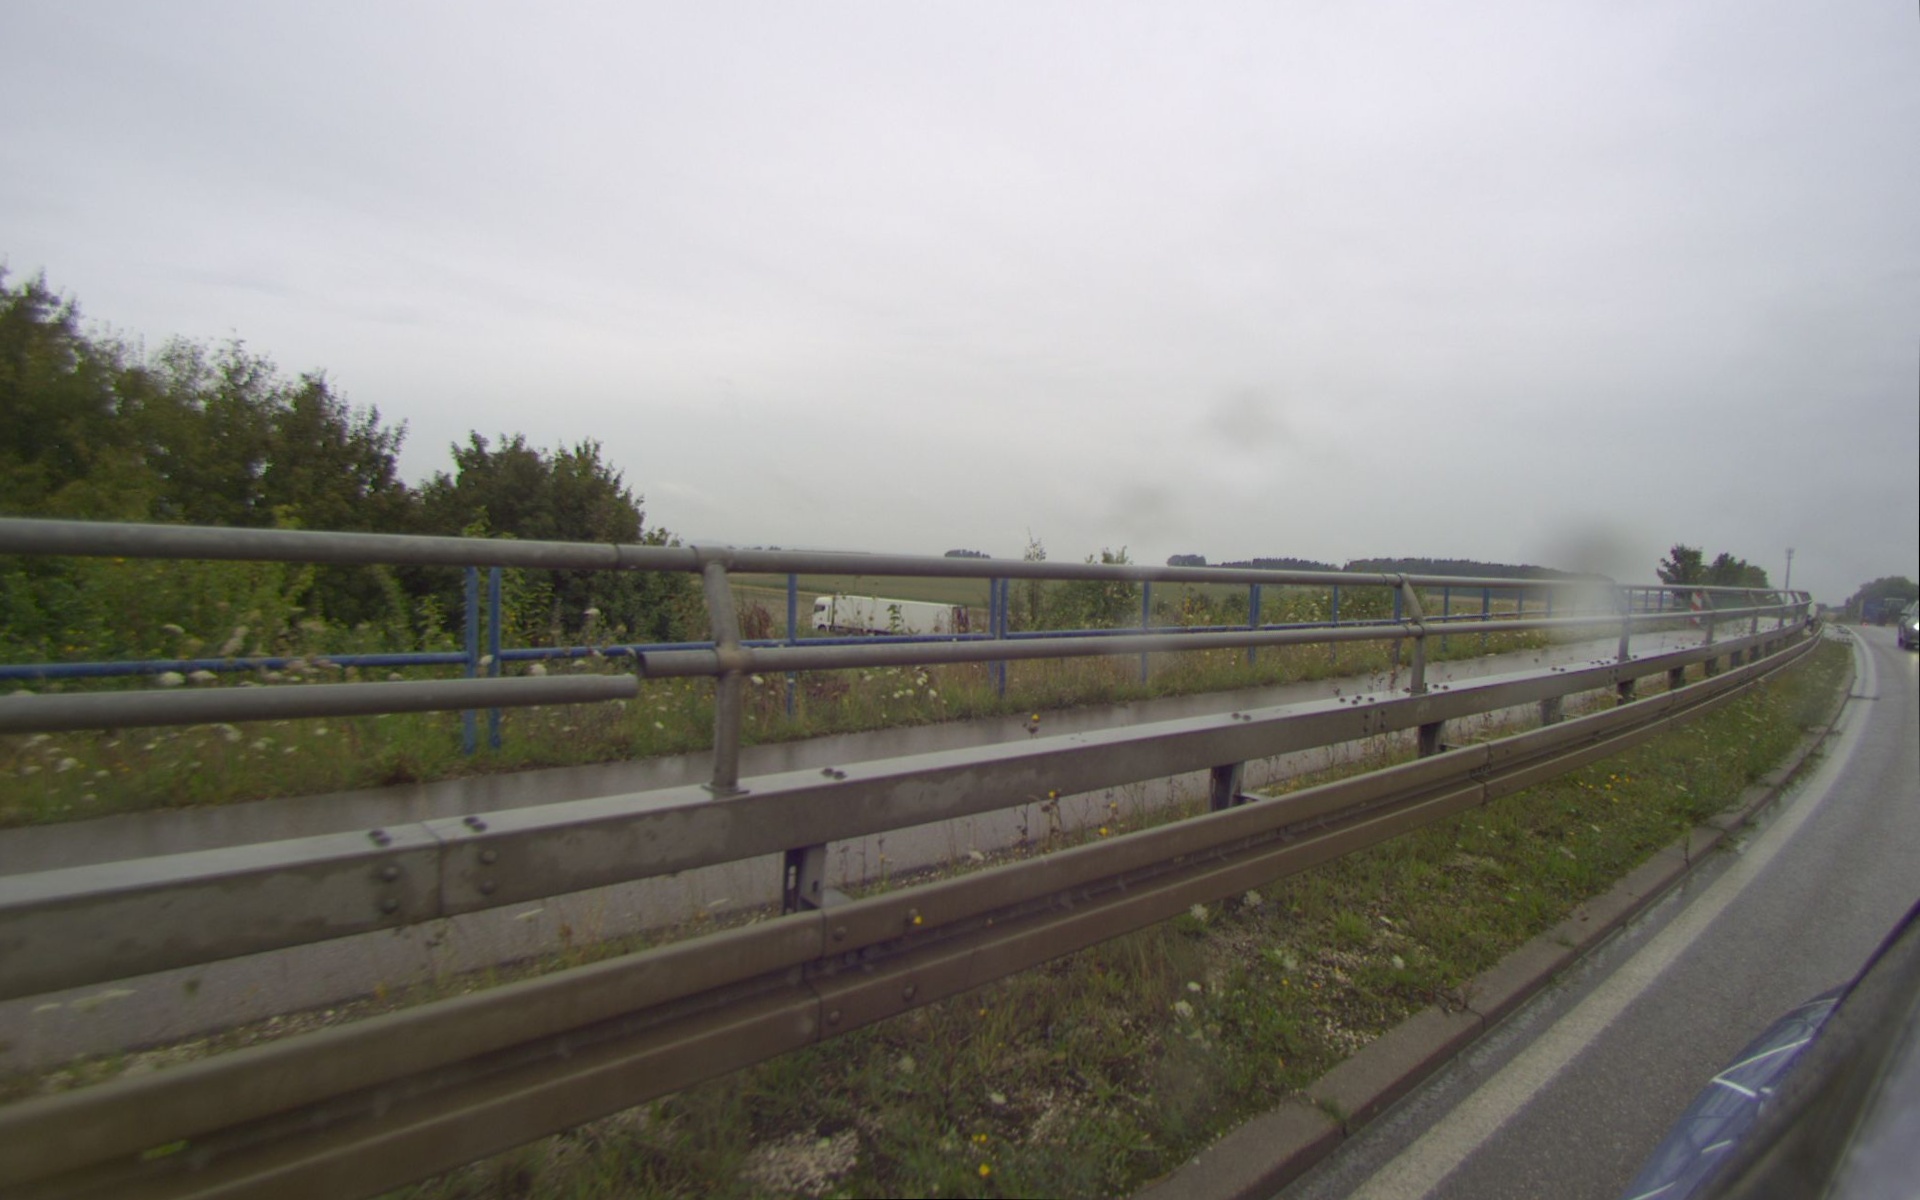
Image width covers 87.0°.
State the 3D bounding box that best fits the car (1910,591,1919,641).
[{"bbox_3d":[28.906,0.464,29.332,1.813,1.408,4.009,1,1,41],"label":"car"}]

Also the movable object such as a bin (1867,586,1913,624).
[{"bbox_3d":[92.563,0.489,100.781,2.745,3.487,4.579,5,3,38],"label":"movable object such as a bin"}]

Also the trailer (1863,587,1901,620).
[{"bbox_3d":[120.116,0.457,131.946,2.815,4.019,13.536,4,2,40],"label":"trailer"}]
